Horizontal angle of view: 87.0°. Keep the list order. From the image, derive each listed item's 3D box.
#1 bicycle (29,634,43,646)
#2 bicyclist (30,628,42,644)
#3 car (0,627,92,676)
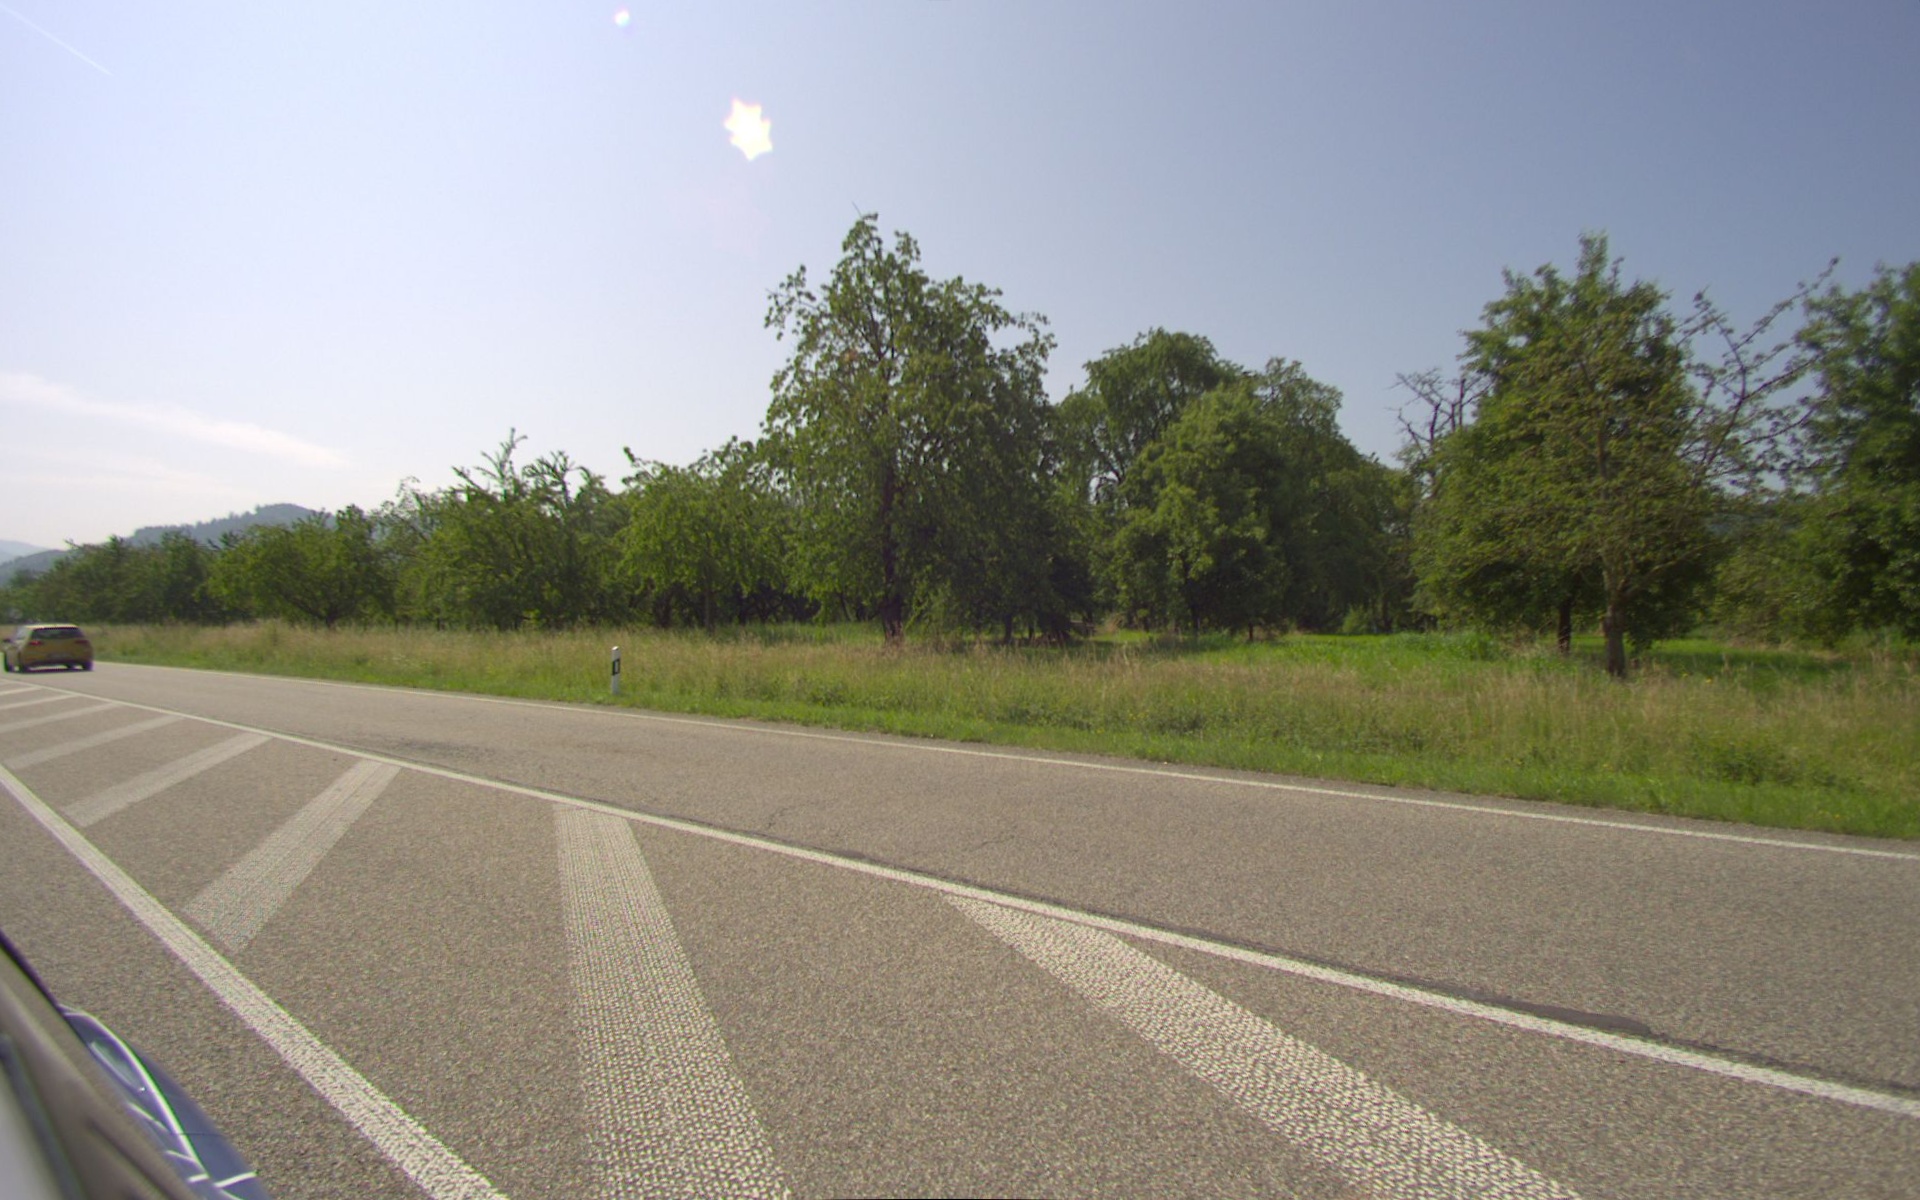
[{"bbox_3d":[-86.473,3.718,94.695,2.225,0.997,0.732,0,0,42],"label":"bicycle"},{"bbox_3d":[-86.477,3.328,94.698,0.863,1.466,0.732,0,0,42],"label":"bicyclist"},{"bbox_3d":[-28.807,1.587,31.805,3.821,1.427,1.680,-1,-1,39],"label":"car"}]
